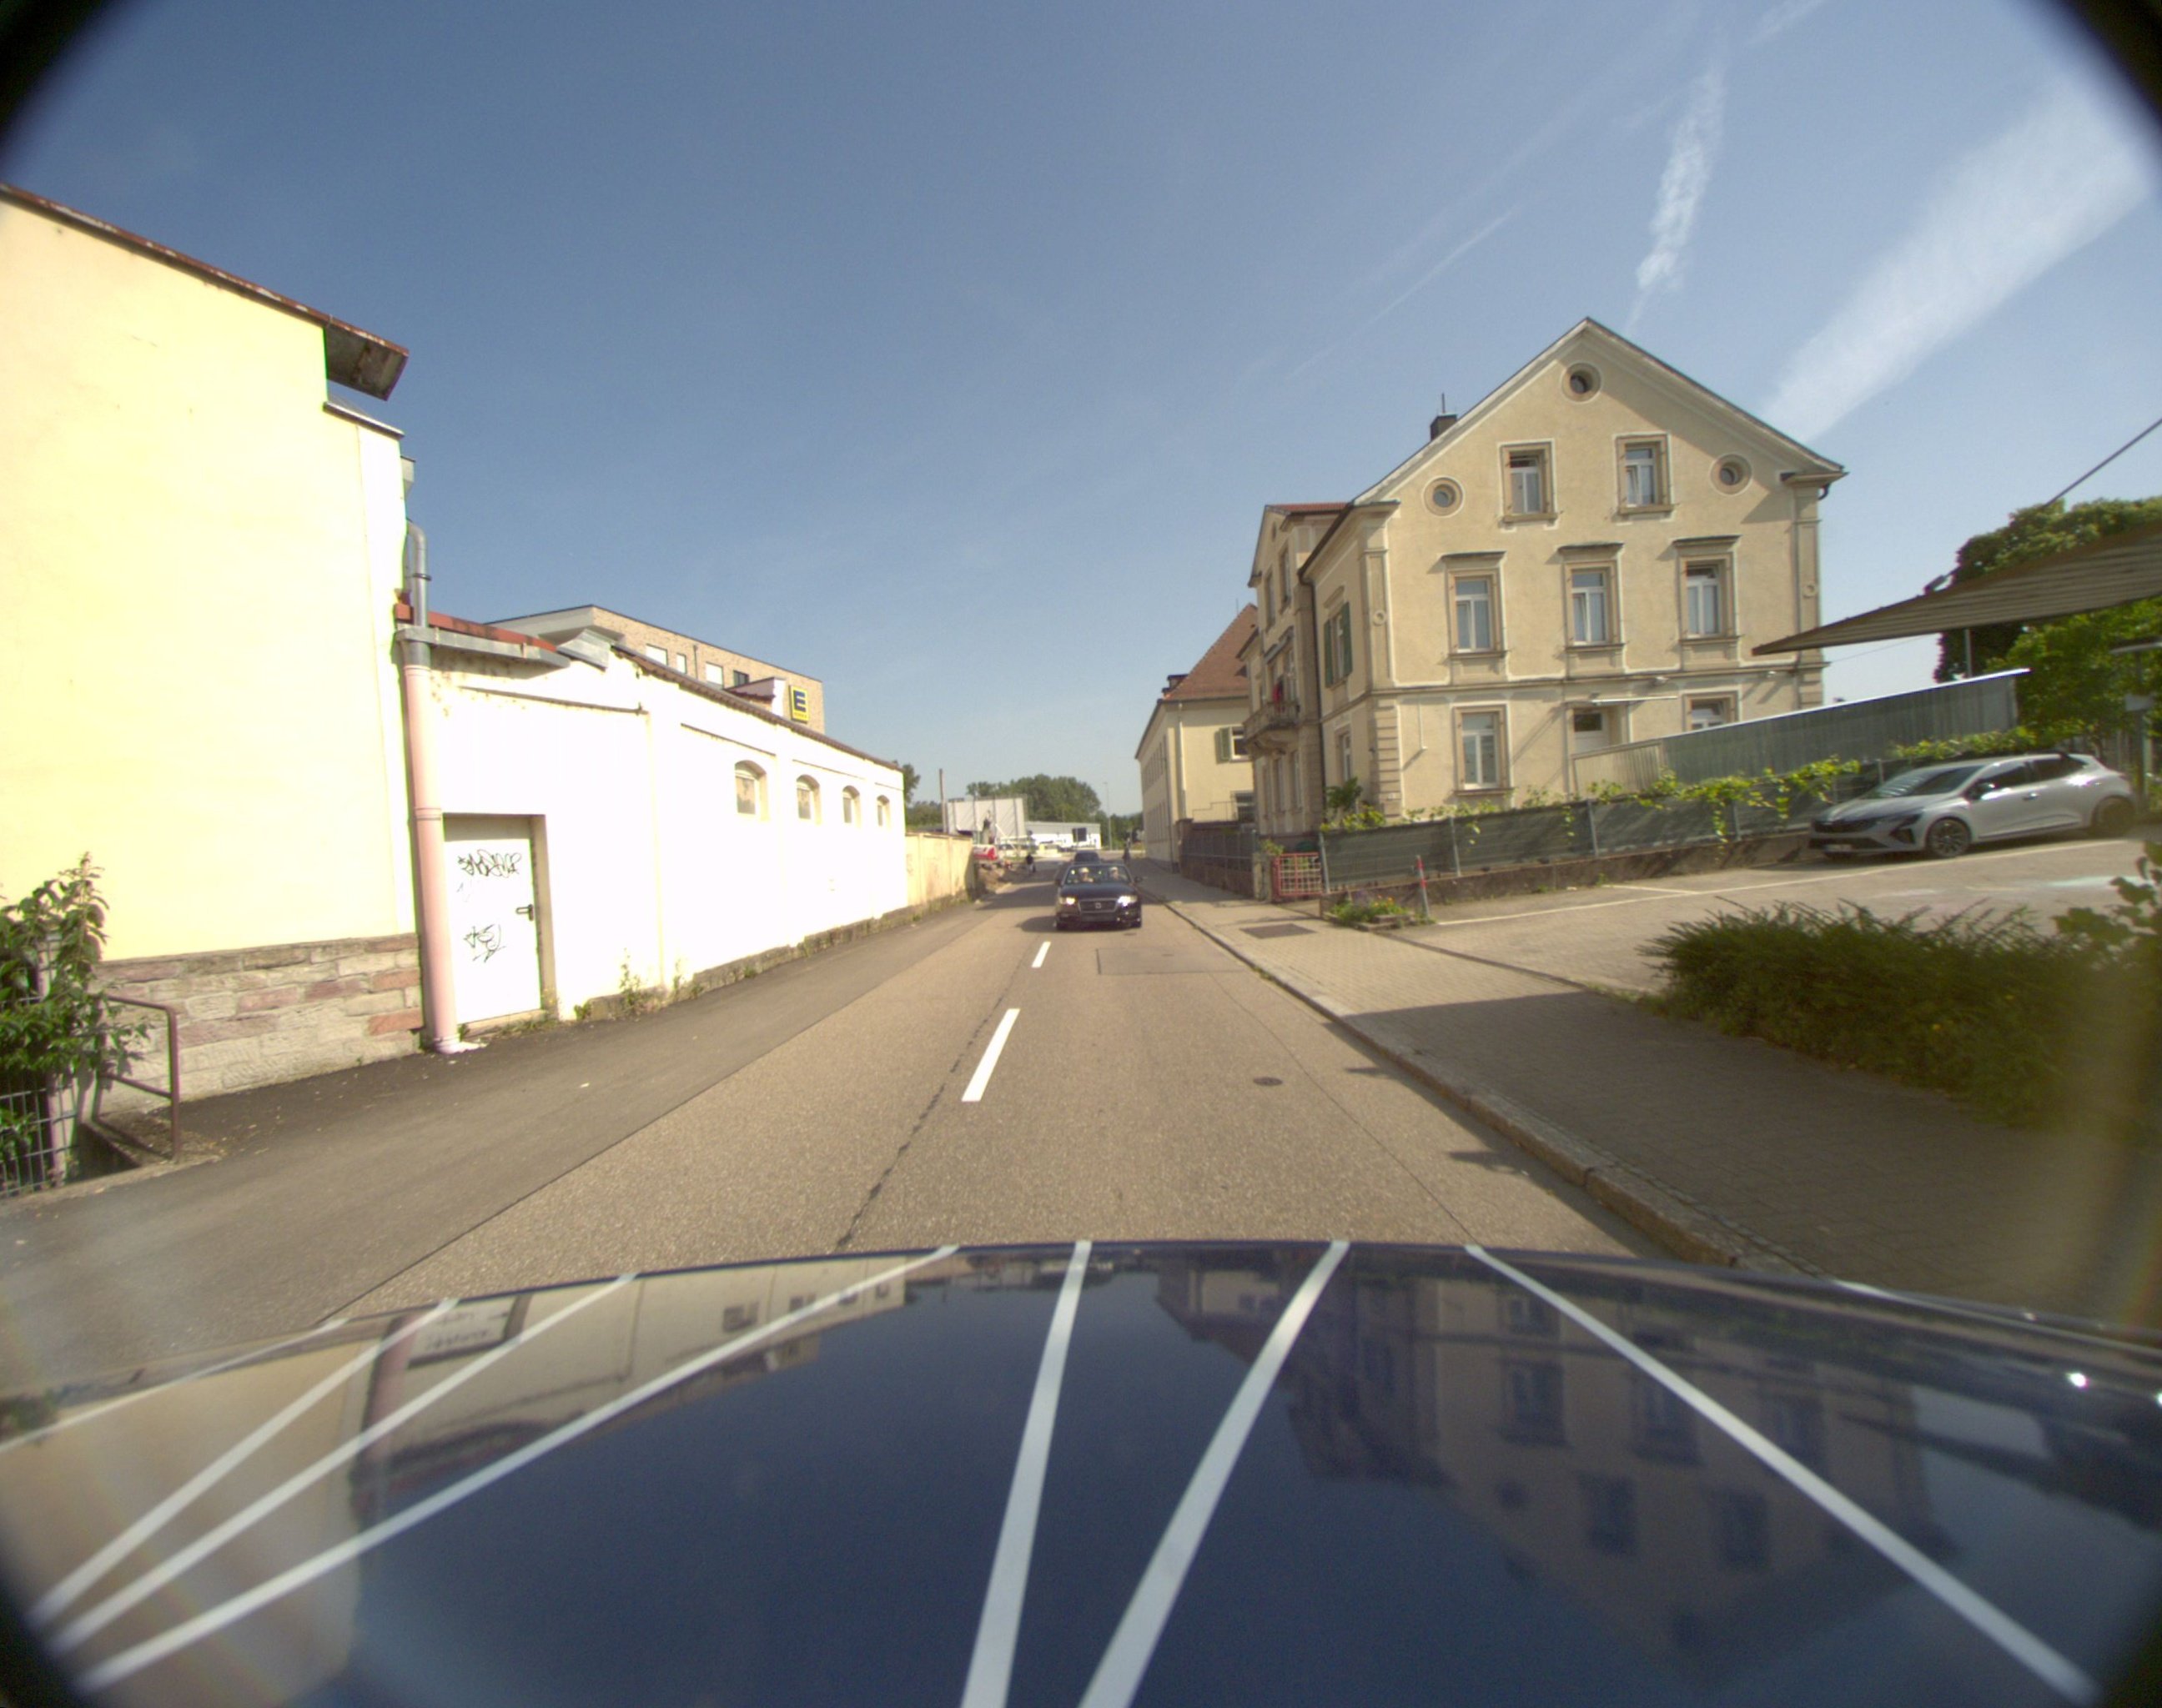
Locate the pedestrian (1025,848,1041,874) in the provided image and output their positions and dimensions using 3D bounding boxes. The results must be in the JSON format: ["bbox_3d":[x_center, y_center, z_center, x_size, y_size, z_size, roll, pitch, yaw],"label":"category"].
[{"bbox_3d":[-3.307,0.484,52.707,0.890,1.673,0.718,-5,2,1],"label":"pedestrian"}]

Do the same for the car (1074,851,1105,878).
[{"bbox_3d":[0.533,0.600,45.786,1.642,1.385,4.229,-3,1,3],"label":"car"}]

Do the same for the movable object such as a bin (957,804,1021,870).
[{"bbox_3d":[-5.979,-1.142,50.633,2.300,3.832,7.799,-5,1,5],"label":"movable object such as a bin"}]

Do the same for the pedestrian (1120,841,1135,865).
[{"bbox_3d":[3.336,-0.063,54.548,0.960,1.622,0.758,-4,2,1],"label":"pedestrian"}]

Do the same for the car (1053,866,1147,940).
[{"bbox_3d":[0.426,0.953,16.407,1.721,1.314,4.225,-2,-1,2],"label":"car"}]

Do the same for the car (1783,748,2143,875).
[{"bbox_3d":[14.222,-0.659,12.412,3.840,1.408,1.705,-8,1,-1],"label":"car"}]
